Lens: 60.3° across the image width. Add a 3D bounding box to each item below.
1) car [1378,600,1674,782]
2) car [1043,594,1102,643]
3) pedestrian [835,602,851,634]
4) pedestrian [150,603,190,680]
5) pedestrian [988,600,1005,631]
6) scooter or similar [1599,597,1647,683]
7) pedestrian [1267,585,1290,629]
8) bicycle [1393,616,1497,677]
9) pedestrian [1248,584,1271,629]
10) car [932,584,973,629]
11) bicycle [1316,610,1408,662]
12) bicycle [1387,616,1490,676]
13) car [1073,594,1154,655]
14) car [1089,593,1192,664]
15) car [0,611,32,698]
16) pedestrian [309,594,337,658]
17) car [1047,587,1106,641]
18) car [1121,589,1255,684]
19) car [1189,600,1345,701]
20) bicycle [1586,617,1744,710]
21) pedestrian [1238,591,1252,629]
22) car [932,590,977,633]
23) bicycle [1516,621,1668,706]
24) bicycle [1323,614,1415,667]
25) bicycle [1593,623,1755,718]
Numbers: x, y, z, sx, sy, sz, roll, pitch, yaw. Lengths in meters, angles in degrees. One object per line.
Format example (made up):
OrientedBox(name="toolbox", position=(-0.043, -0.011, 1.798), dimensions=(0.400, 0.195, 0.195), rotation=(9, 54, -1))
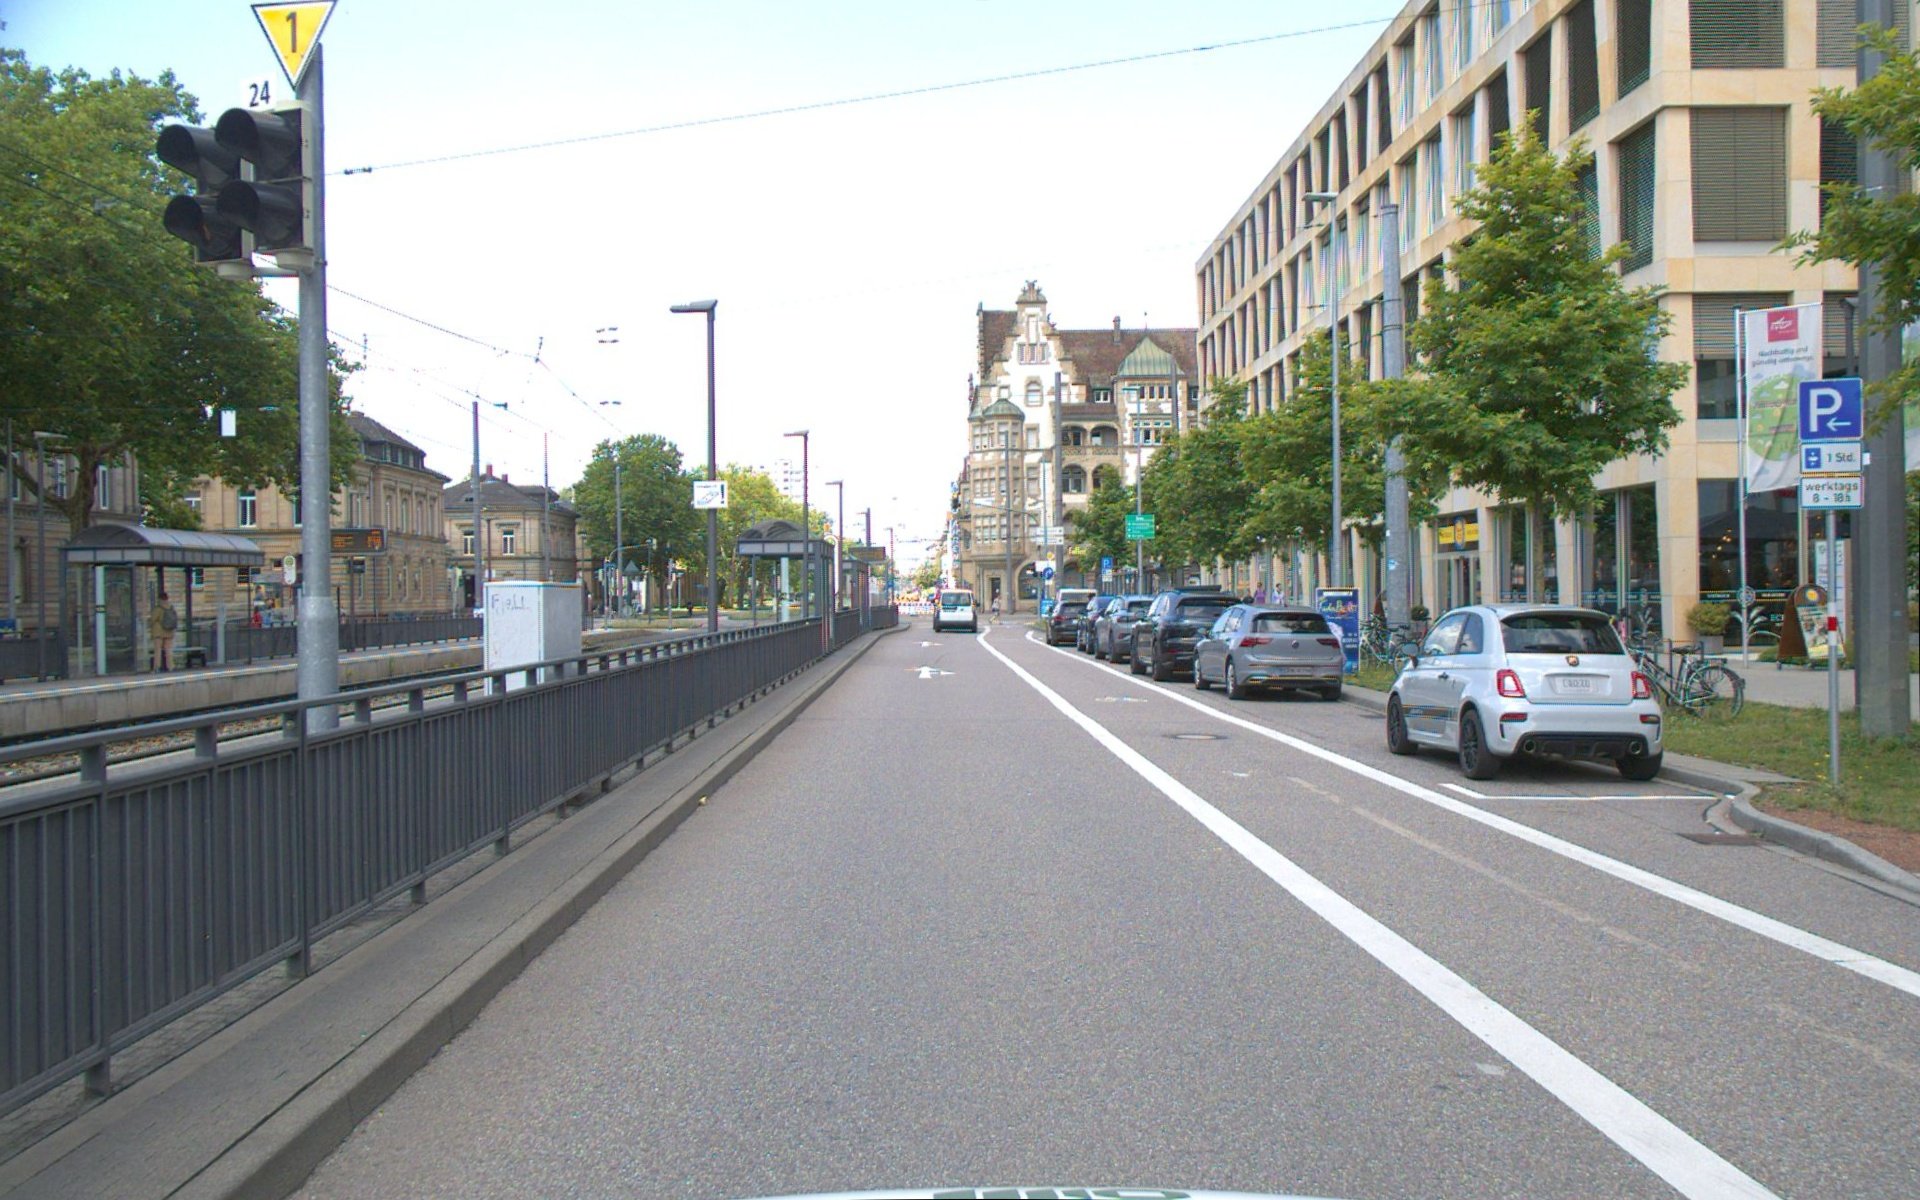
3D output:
OrientedBox(name="car", position=(5.178, 0.757, 15.594), dimensions=(1.558, 1.486, 3.613), rotation=(0, 0, 0))
OrientedBox(name="car", position=(3.587, 0.574, 53.133), dimensions=(1.414, 1.496, 4.090), rotation=(1, 0, -3))
OrientedBox(name="pedestrian", position=(-4.325, 0.660, 61.163), dimensions=(0.503, 1.160, 0.501), rotation=(-3, 0, -1))
OrientedBox(name="pedestrian", position=(-16.497, 0.861, 34.542), dimensions=(0.490, 1.585, 0.643), rotation=(-1, 0, -1))
OrientedBox(name="pedestrian", position=(1.939, 0.827, 88.655), dimensions=(0.789, 1.599, 0.628), rotation=(-3, 0, -3))
OrientedBox(name="scooter or similar", position=(9.858, 0.583, 24.619), dimensions=(0.253, 1.237, 1.015), rotation=(-1, 0, -2))
OrientedBox(name="pedestrian", position=(12.436, 0.282, 64.574), dimensions=(0.745, 1.699, 0.659), rotation=(-1, 0, -2))
OrientedBox(name="bicycle", position=(8.510, 0.814, 29.045), dimensions=(1.717, 1.003, 0.325), rotation=(-2, 0, -2))
OrientedBox(name="pedestrian", position=(11.688, 0.259, 64.543), dimensions=(0.745, 1.754, 0.659), rotation=(-1, 0, -2))
OrientedBox(name="car", position=(-0.386, 0.298, 77.928), dimensions=(1.831, 2.056, 3.999), rotation=(0, 0, -2))
OrientedBox(name="bicycle", position=(8.494, 0.763, 34.998), dimensions=(1.786, 1.048, 0.584), rotation=(-1, 0, 2))
OrientedBox(name="bicycle", position=(8.500, 0.814, 29.393), dimensions=(1.717, 1.003, 0.325), rotation=(-2, 0, -2))
OrientedBox(name="car", position=(4.332, 0.665, 47.219), dimensions=(1.770, 1.619, 4.304), rotation=(1, 0, -2))
OrientedBox(name="car", position=(4.358, 0.642, 40.576), dimensions=(1.771, 1.619, 4.838), rotation=(1, 0, -3))
OrientedBox(name="car", position=(-20.007, 1.102, 31.564), dimensions=(1.953, 1.734, 4.819), rotation=(-1, 0, -2))
OrientedBox(name="pedestrian", position=(-17.508, 0.710, 45.482), dimensions=(0.490, 1.713, 0.643), rotation=(-1, 0, -1))
OrientedBox(name="car", position=(4.078, 0.465, 58.287), dimensions=(1.675, 1.828, 3.359), rotation=(1, 0, -3))
OrientedBox(name="car", position=(4.360, 0.640, 32.296), dimensions=(1.703, 1.698, 4.838), rotation=(1, 0, -3))
OrientedBox(name="car", position=(4.864, 0.759, 26.708), dimensions=(1.559, 1.459, 4.105), rotation=(1, 0, -3))
OrientedBox(name="bicycle", position=(8.615, 0.775, 20.233), dimensions=(1.785, 1.094, 0.275), rotation=(-1, 0, 2))
OrientedBox(name="pedestrian", position=(11.095, 0.403, 64.471), dimensions=(0.430, 1.474, 0.434), rotation=(-1, 0, -2))
OrientedBox(name="car", position=(-0.252, 0.478, 71.318), dimensions=(1.831, 1.777, 3.999), rotation=(0, 0, -2))
OrientedBox(name="bicycle", position=(8.541, 0.849, 22.399), dimensions=(1.785, 1.094, 0.686), rotation=(-1, 0, 2))
OrientedBox(name="bicycle", position=(8.451, 0.840, 34.200), dimensions=(1.786, 1.048, 0.432), rotation=(-1, 0, 2))
OrientedBox(name="bicycle", position=(8.600, 0.846, 19.937), dimensions=(1.785, 1.094, 0.275), rotation=(-1, 0, 2))
